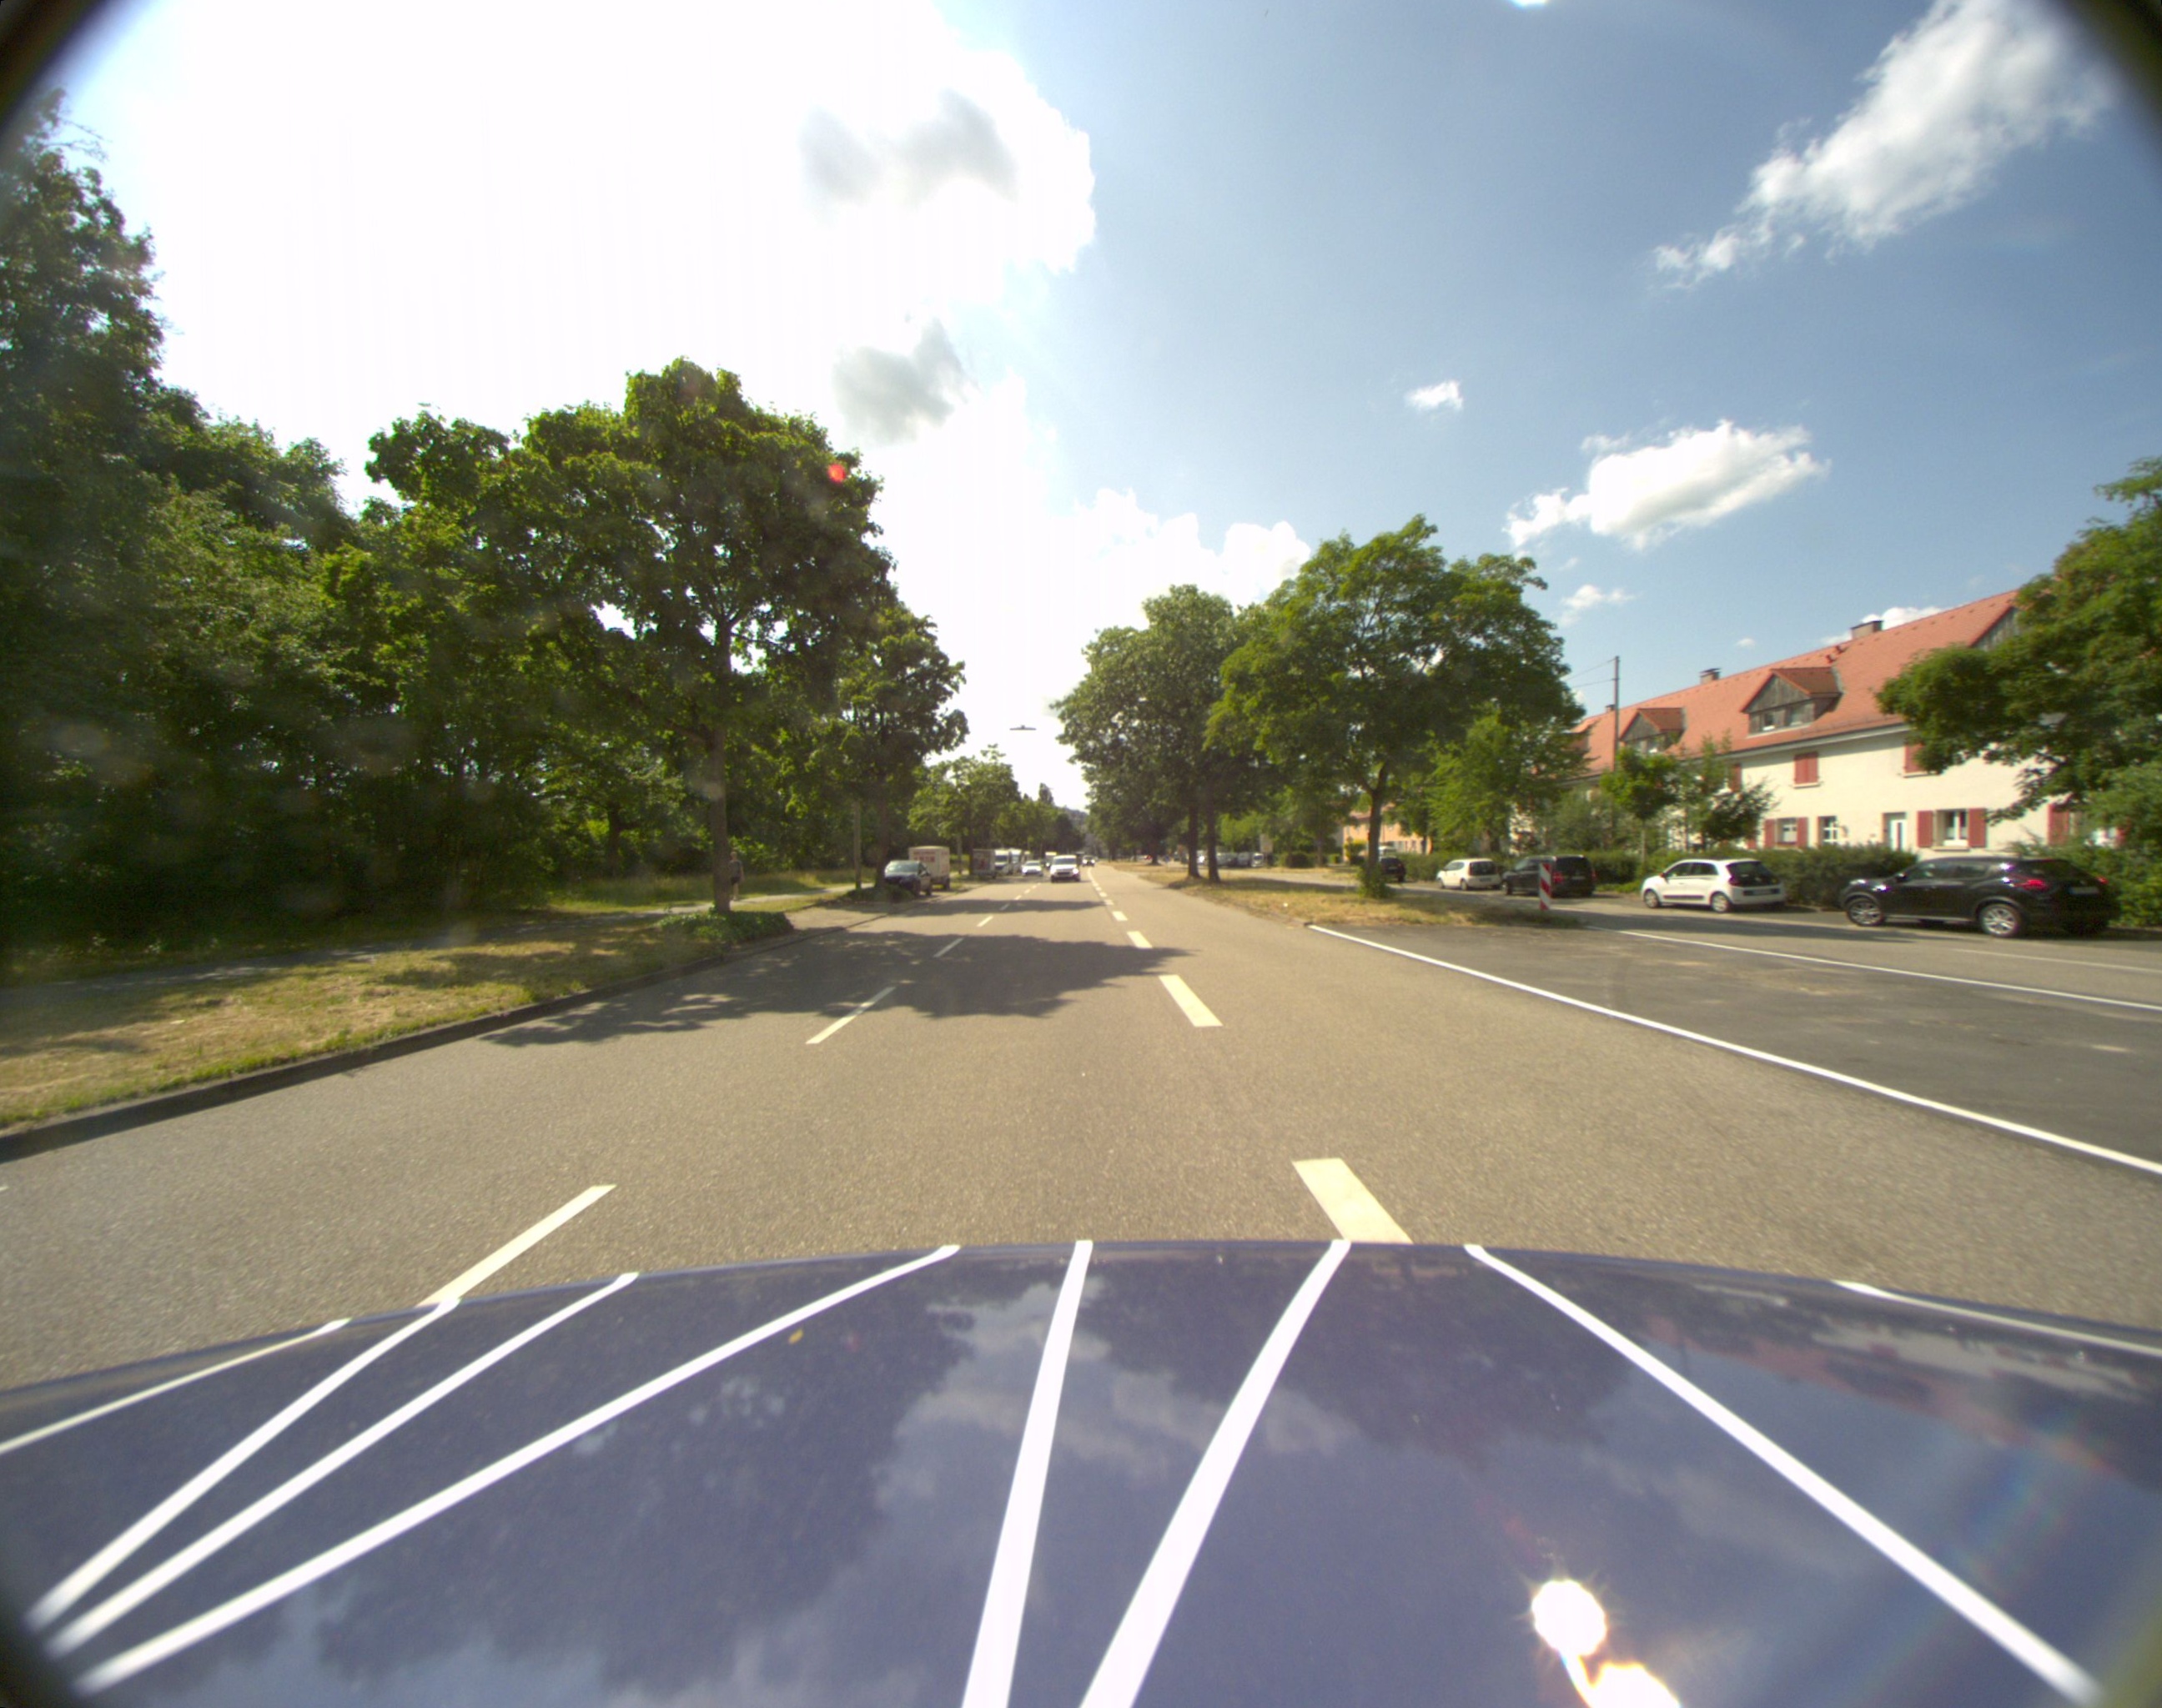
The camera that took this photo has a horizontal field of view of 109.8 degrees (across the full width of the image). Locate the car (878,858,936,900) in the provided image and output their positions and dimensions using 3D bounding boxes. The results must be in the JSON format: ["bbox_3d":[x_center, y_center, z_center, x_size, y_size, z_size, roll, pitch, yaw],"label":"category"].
[{"bbox_3d":[-7.746,1.084,34.195,1.595,1.681,4.361,0,1,1],"label":"car"}]

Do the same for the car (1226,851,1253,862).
[{"bbox_3d":[22.048,0.338,105.522,4.007,1.390,1.569,-4,1,-42],"label":"car"}]

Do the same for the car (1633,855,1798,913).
[{"bbox_3d":[18.736,0.814,22.695,1.664,1.443,3.846,-3,1,0],"label":"car"}]

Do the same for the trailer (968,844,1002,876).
[{"bbox_3d":[-7.713,0.446,61.424,1.998,2.352,4.781,3,1,0],"label":"trailer"}]

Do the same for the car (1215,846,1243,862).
[{"bbox_3d":[21.102,0.027,108.350,4.007,2.002,1.800,-4,1,-42],"label":"car"}]

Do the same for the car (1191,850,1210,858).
[{"bbox_3d":[22.649,-0.050,144.337,1.668,1.341,3.827,-2,1,42],"label":"car"}]

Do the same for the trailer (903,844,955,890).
[{"bbox_3d":[-8.032,0.640,40.601,1.958,2.338,4.605,0,1,-1],"label":"trailer"}]

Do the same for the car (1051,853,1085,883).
[{"bbox_3d":[-0.823,0.905,50.881,1.935,1.774,4.716,-3,0,1],"label":"car"}]

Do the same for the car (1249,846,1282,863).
[{"bbox_3d":[21.872,0.070,89.931,4.008,1.849,1.800,-2,0,-42],"label":"car"}]

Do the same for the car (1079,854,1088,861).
[{"bbox_3d":[0.484,0.736,166.732,1.892,1.281,3.999,-3,1,0],"label":"car"}]

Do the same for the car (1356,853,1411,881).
[{"bbox_3d":[18.779,0.773,47.315,1.772,1.543,3.999,-3,1,0],"label":"car"}]

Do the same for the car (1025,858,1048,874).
[{"bbox_3d":[-4.126,1.130,71.297,1.892,1.281,3.999,-3,1,0],"label":"car"}]

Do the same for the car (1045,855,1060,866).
[{"bbox_3d":[-3.818,0.888,102.361,1.892,1.281,3.999,-3,1,0],"label":"car"}]

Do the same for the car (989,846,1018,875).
[{"bbox_3d":[-7.617,0.567,75.556,2.181,2.680,6.150,-3,1,0],"label":"car"}]

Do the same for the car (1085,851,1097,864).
[{"bbox_3d":[1.577,0.539,119.281,1.768,1.893,4.541,-3,1,2],"label":"car"}]

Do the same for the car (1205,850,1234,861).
[{"bbox_3d":[20.611,0.233,113.229,3.997,1.502,1.800,-3,1,1],"label":"car"}]

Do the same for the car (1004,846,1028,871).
[{"bbox_3d":[-7.544,0.480,89.030,2.262,2.787,6.767,1,1,0],"label":"car"}]

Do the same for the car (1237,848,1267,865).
[{"bbox_3d":[22.310,0.296,99.246,4.007,2.002,1.800,-4,1,-42],"label":"car"}]

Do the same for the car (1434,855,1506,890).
[{"bbox_3d":[18.660,0.857,36.634,1.598,1.452,3.534,-3,1,0],"label":"car"}]

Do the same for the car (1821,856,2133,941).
[{"bbox_3d":[18.420,0.823,15.979,1.664,1.472,4.103,-3,0,0],"label":"car"}]

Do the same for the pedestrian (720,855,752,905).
[{"bbox_3d":[-12.576,0.937,27.744,0.719,1.783,0.740,-3,1,0],"label":"pedestrian"}]

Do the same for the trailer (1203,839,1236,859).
[{"bbox_3d":[22.927,-0.791,125.222,2.820,3.090,5.764,-3,0,39],"label":"trailer"}]

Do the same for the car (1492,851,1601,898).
[{"bbox_3d":[18.496,0.756,30.433,1.664,1.603,4.313,-3,1,0],"label":"car"}]

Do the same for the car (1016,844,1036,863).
[{"bbox_3d":[-7.425,-0.103,102.838,2.262,2.526,6.767,1,1,0],"label":"car"}]
